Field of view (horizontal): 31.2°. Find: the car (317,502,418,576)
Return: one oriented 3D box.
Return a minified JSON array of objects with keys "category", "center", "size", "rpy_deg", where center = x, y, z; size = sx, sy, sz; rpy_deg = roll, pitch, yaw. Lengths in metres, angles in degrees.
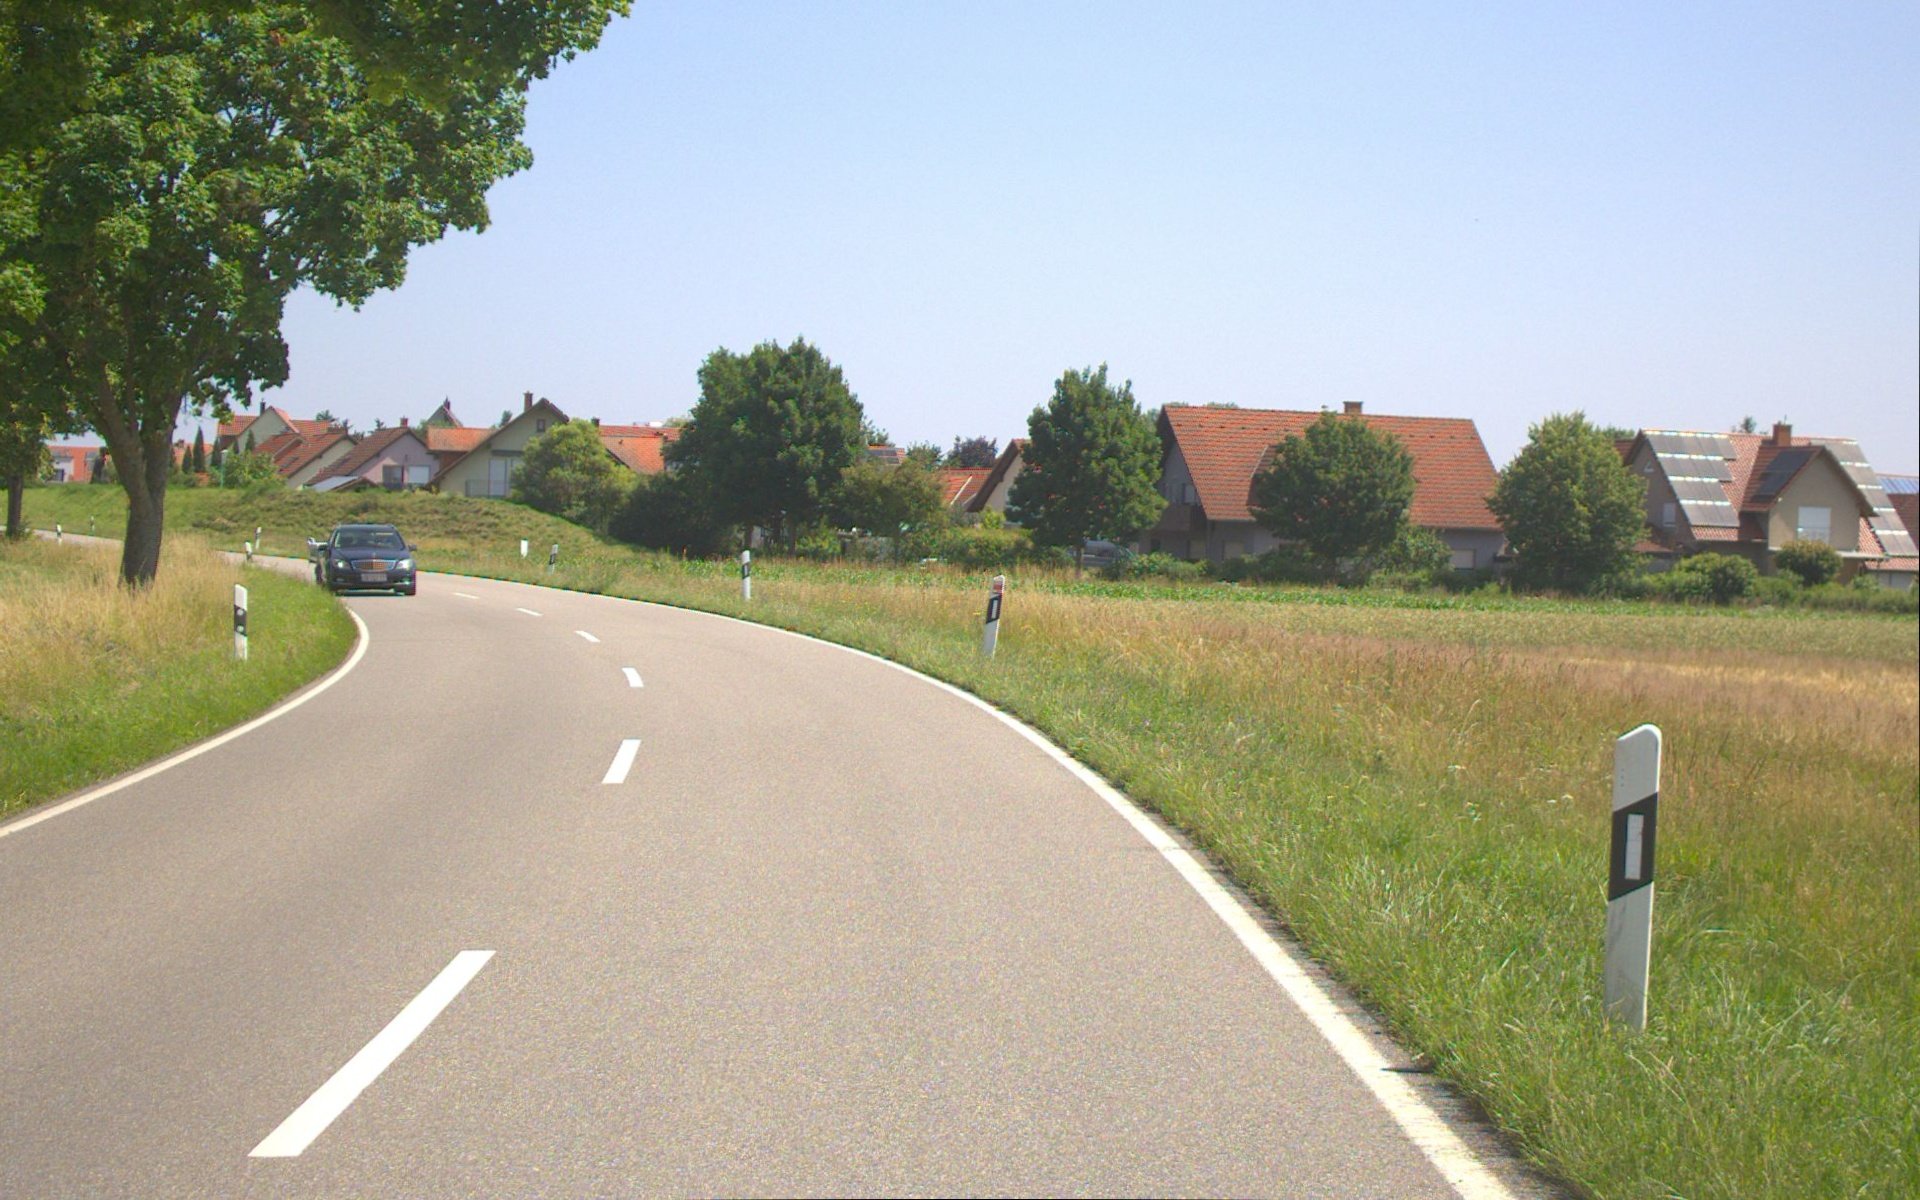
[{"category":"car","center":[-12.114,-1.255,70.163],"size":[1.643,1.424,4.182],"rpy_deg":[-1,1,-15]}]
